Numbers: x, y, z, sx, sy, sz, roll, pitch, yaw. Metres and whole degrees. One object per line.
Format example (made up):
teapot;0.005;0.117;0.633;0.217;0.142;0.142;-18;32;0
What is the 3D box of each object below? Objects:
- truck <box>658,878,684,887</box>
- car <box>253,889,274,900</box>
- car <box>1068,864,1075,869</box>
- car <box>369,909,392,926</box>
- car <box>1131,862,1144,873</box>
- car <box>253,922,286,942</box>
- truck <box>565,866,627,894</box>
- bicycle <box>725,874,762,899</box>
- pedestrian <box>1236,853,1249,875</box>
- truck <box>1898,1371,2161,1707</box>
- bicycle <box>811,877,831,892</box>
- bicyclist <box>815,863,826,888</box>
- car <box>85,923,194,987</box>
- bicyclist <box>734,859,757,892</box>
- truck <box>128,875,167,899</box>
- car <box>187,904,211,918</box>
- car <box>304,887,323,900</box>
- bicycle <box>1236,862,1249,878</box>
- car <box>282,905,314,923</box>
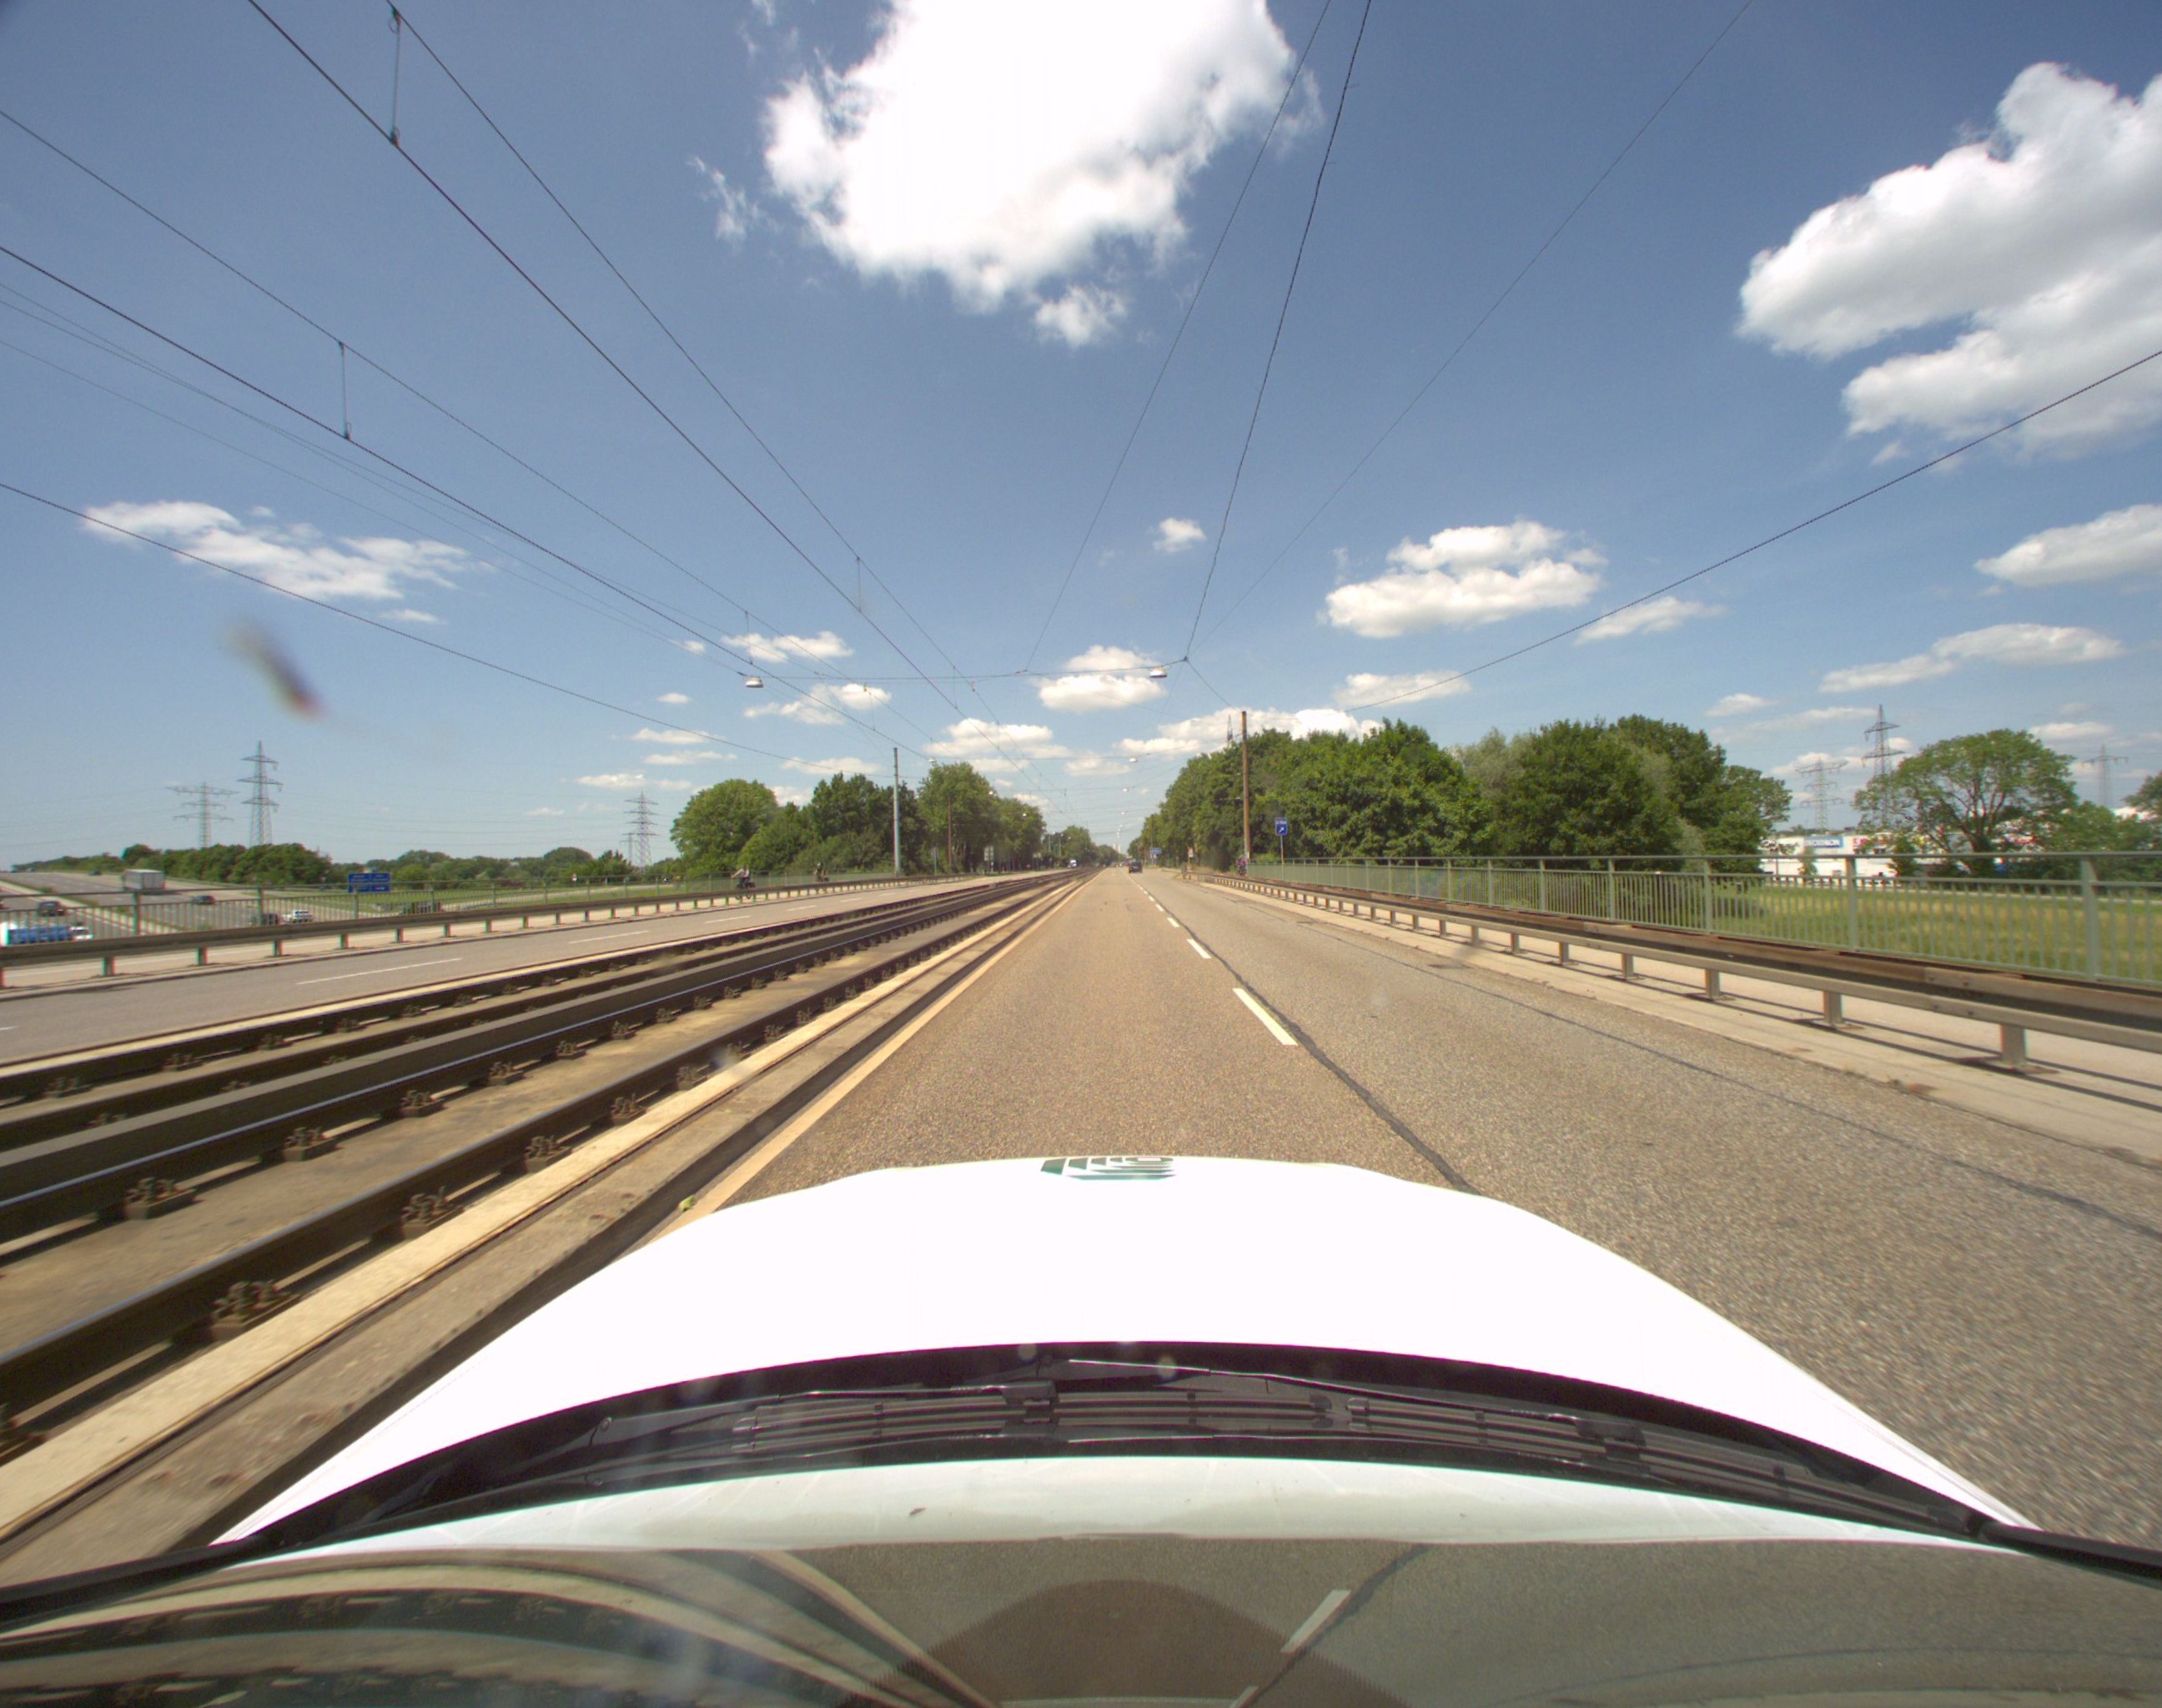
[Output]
truck;-85.134;5.883;169.190;4.811;1.768;1.935;0;1;-26
car;-143.807;7.121;143.273;3.949;1.642;1.751;4;0;32
car;-2.987;3.792;250.979;1.810;1.514;4.430;-2;-1;2
car;-96.718;8.761;112.439;3.950;2.014;1.881;3;-1;43
car;7.463;1.817;107.784;1.580;1.343;3.273;-2;0;1
car;-87.728;8.416;88.015;3.949;1.642;1.751;4;0;35
truck;-101.190;5.459;170.049;10.845;5.637;3.264;2;1;-31
bicycle;-16.494;1.575;39.848;0.853;1.185;2.063;0;-1;2
pedestrian;10.281;0.610;51.907;0.625;1.374;1.051;-2;-1;2
truck;11.270;5.600;0.636;14.596;4.220;2.849;-2;-3;33
bicycle;-15.979;1.877;50.095;0.521;0.843;2.036;0;0;0
bicyclist;-16.010;1.323;50.093;0.519;1.497;0.530;0;0;0
car;-93.290;9.621;80.420;22.166;4.488;5.052;-1;-1;36
bicyclist;-16.482;1.045;39.981;0.760;1.622;0.838;0;-1;2
truck;-161.950;5.641;141.282;8.096;3.705;3.687;2;1;35
car;-130.587;8.470;120.575;3.949;1.642;1.947;4;0;38
car;-120.077;6.194;127.342;3.950;1.642;1.751;4;0;42
bicycle;10.272;1.012;51.822;0.557;1.024;1.849;-2;-1;3
car;-92.417;7.077;96.100;3.949;1.642;1.751;4;1;33
